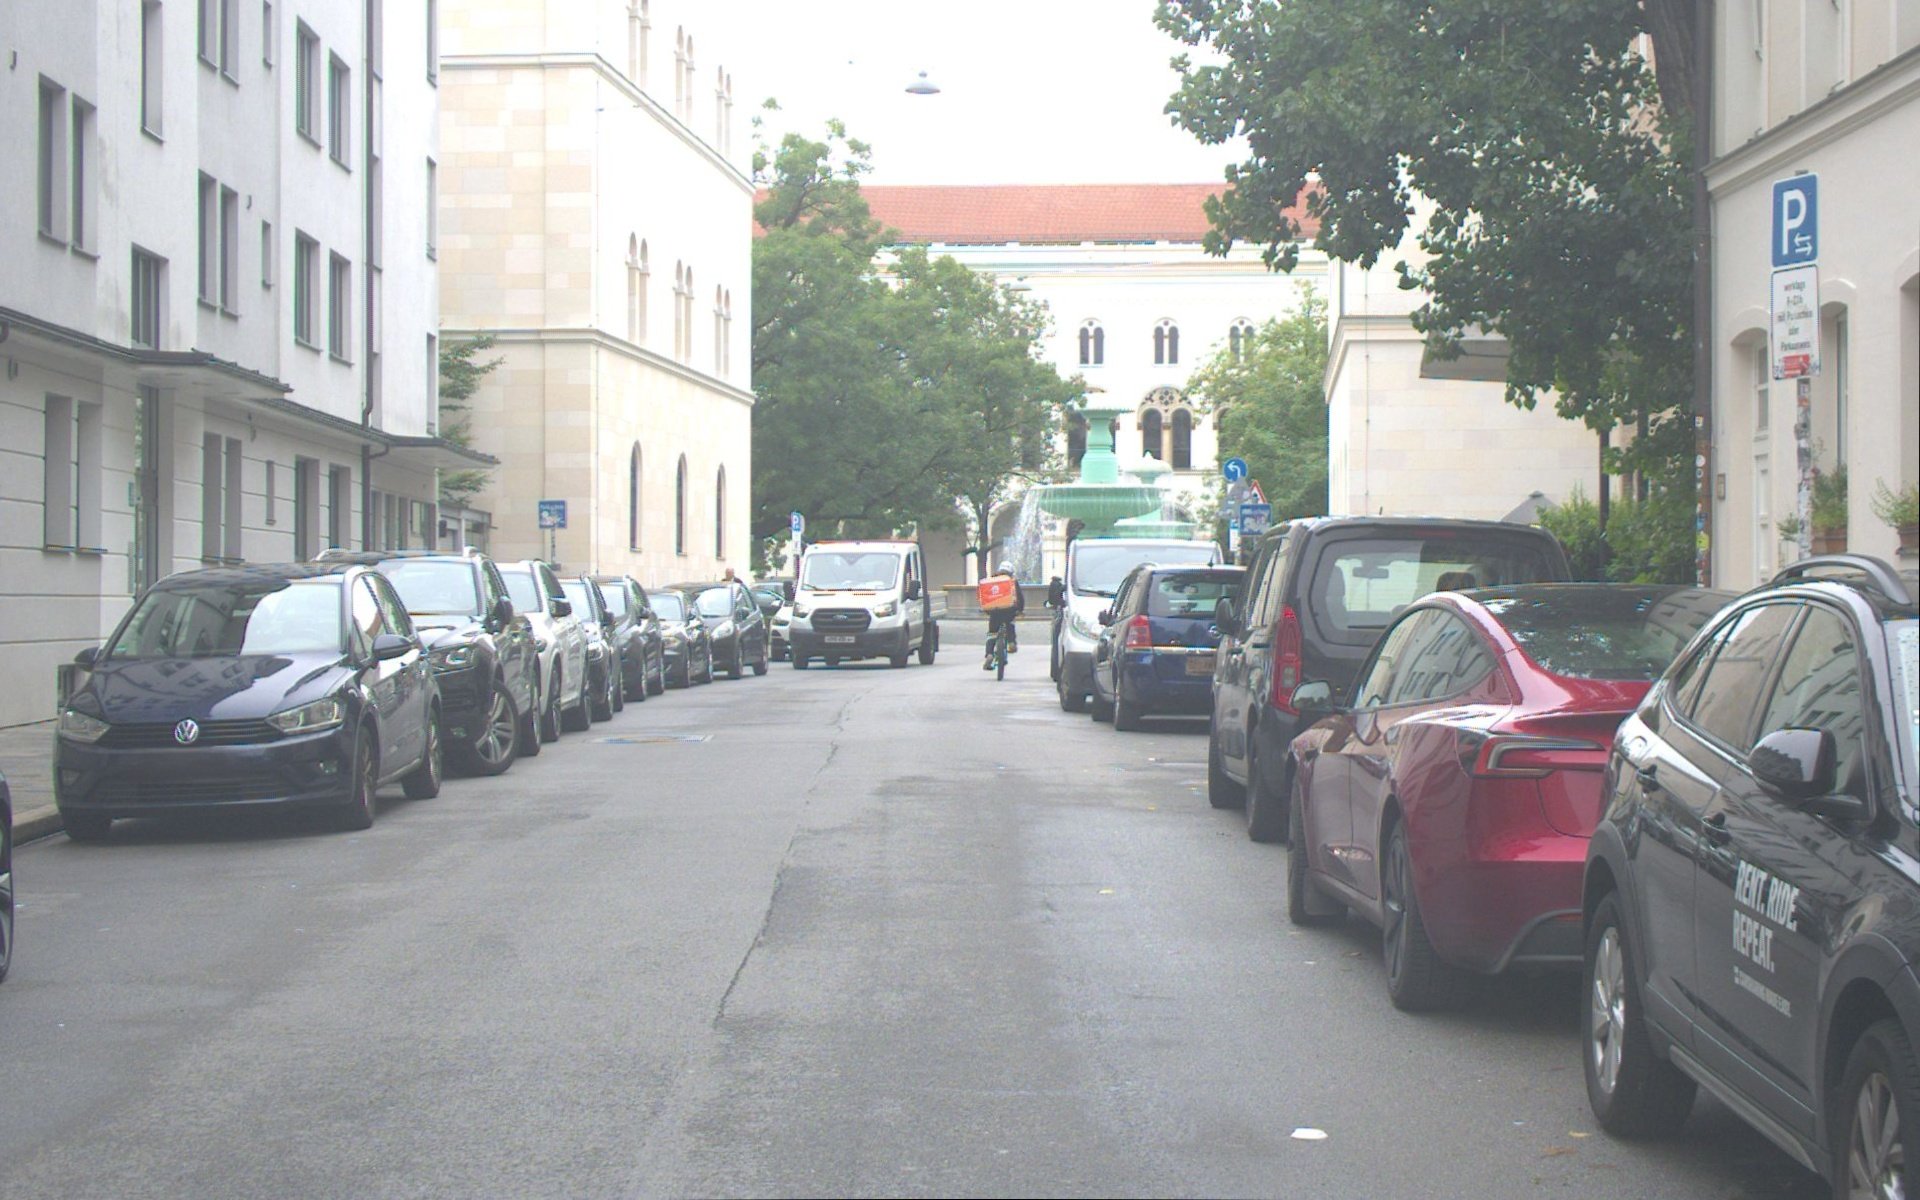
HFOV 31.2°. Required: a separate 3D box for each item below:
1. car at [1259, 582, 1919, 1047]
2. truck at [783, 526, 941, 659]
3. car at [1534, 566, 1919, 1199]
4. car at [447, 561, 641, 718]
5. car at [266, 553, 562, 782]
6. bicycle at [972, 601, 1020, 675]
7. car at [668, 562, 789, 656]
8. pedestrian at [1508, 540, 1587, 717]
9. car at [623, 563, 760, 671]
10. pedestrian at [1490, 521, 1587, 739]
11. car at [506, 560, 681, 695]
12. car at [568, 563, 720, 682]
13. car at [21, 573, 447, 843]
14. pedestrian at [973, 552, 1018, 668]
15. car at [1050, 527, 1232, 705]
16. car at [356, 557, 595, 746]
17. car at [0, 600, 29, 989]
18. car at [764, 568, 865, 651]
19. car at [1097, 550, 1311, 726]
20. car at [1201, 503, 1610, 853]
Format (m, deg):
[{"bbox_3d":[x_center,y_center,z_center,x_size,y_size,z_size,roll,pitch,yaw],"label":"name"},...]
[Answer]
[{"bbox_3d":[2.290,0.662,12.857,1.811,1.420,4.247,1,0,-2],"label":"car"},{"bbox_3d":[-1.677,-0.119,61.430,2.121,2.240,6.184,-1,0,5],"label":"truck"},{"bbox_3d":[2.562,0.672,7.599,1.811,1.460,4.247,1,0,-1],"label":"car"},{"bbox_3d":[-4.529,0.394,37.893,1.706,1.604,3.863,-1,1,-1],"label":"car"},{"bbox_3d":[-4.134,0.466,26.554,1.706,1.604,3.863,-1,1,-1],"label":"car"},{"bbox_3d":[0.530,0.564,51.372,0.675,1.091,1.760,-1,-1,-1],"label":"bicycle"},{"bbox_3d":[-4.043,0.134,60.524,1.706,1.576,3.863,-1,1,2],"label":"car"},{"bbox_3d":[6.757,0.326,39.583,0.669,1.974,0.708,-4,-1,0],"label":"pedestrian"},{"bbox_3d":[-4.219,0.242,54.429,1.706,1.604,3.863,-1,1,2],"label":"car"},{"bbox_3d":[5.385,0.280,32.047,0.669,1.974,0.708,-4,-1,0],"label":"pedestrian"},{"bbox_3d":[-4.626,0.315,43.863,1.706,1.604,3.863,-1,1,1],"label":"car"},{"bbox_3d":[-4.499,0.291,49.423,1.706,1.604,3.863,-1,1,2],"label":"car"},{"bbox_3d":[-4.284,0.580,20.855,1.817,1.439,3.818,-1,1,-1],"label":"car"},{"bbox_3d":[0.529,0.152,51.372,0.642,1.708,0.843,-1,-1,0],"label":"pedestrian"},{"bbox_3d":[2.025,0.159,39.664,1.852,1.913,4.769,0,0,0],"label":"car"},{"bbox_3d":[-4.408,0.430,31.765,1.706,1.604,3.863,-1,1,-1],"label":"car"},{"bbox_3d":[-4.192,0.735,11.058,1.761,1.406,4.156,-1,1,-8],"label":"car"},{"bbox_3d":[-2.895,0.169,69.075,1.706,1.576,3.863,-1,1,2],"label":"car"},{"bbox_3d":[2.336,0.339,33.787,1.812,1.609,4.156,0,0,0],"label":"car"},{"bbox_3d":[2.465,0.388,19.996,1.812,1.791,4.247,1,0,0],"label":"car"}]
